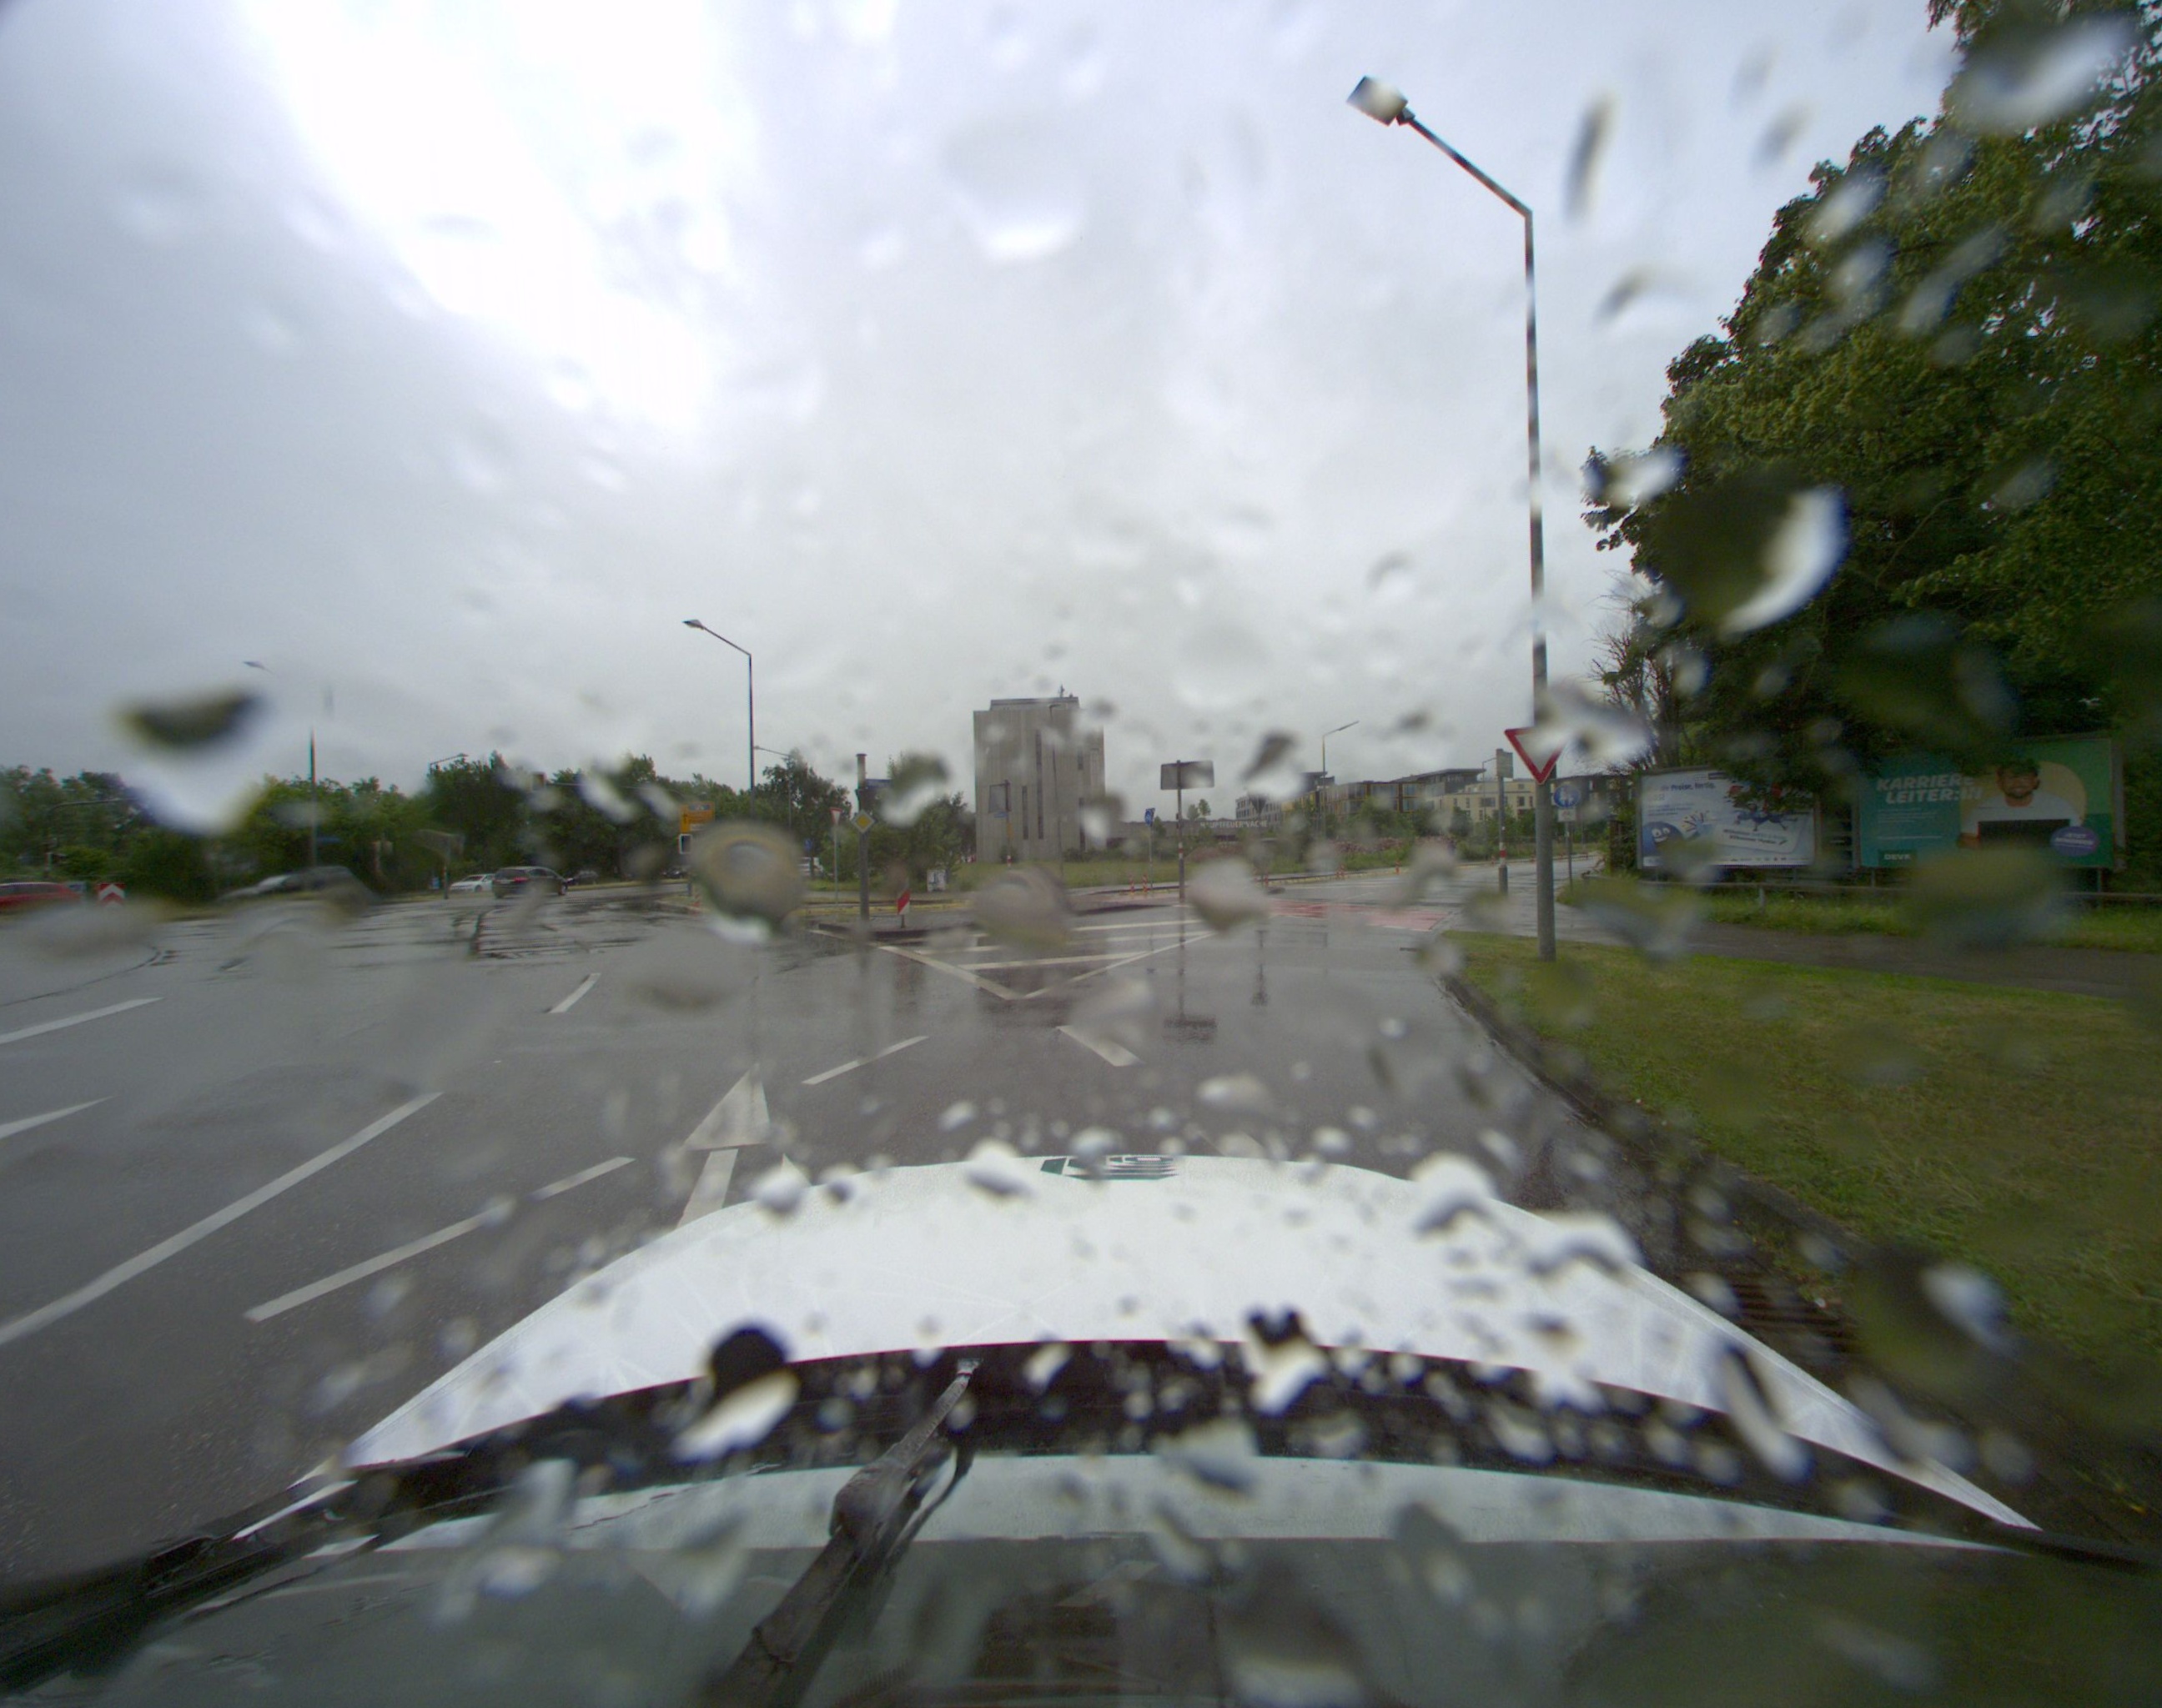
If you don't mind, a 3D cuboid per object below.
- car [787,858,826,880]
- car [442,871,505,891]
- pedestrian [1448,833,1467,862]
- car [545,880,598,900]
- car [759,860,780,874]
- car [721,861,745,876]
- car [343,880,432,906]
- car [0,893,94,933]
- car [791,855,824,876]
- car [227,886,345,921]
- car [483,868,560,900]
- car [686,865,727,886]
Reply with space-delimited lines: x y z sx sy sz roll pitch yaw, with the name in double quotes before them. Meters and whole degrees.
"car" -24.981 1.348 74.200 1.777 1.810 4.838 -1 0 1
"car" -44.327 1.978 59.547 1.623 1.376 4.243 0 -2 -4
"pedestrian" 27.203 -0.441 58.893 1.137 2.014 0.839 2 -2 -41
"car" -44.368 3.085 71.034 1.775 1.648 4.005 0 -2 5
"car" -45.265 1.883 118.373 1.784 2.014 3.668 0 -2 -4
"car" -45.394 1.903 106.302 1.784 2.014 3.668 0 -2 -4
"car" -46.322 2.578 54.555 1.773 1.648 4.398 0 -2 9
"car" -46.872 2.558 35.545 1.770 1.648 4.412 0 -2 16
"car" -27.979 1.195 83.455 1.776 2.036 4.003 0 -2 3
"car" -41.020 2.536 42.196 1.778 1.648 4.392 0 -2 -1
"car" -29.976 1.606 43.765 1.782 1.648 3.988 0 -2 -8
"car" -30.721 1.746 66.899 1.677 1.648 3.942 0 -2 -3
